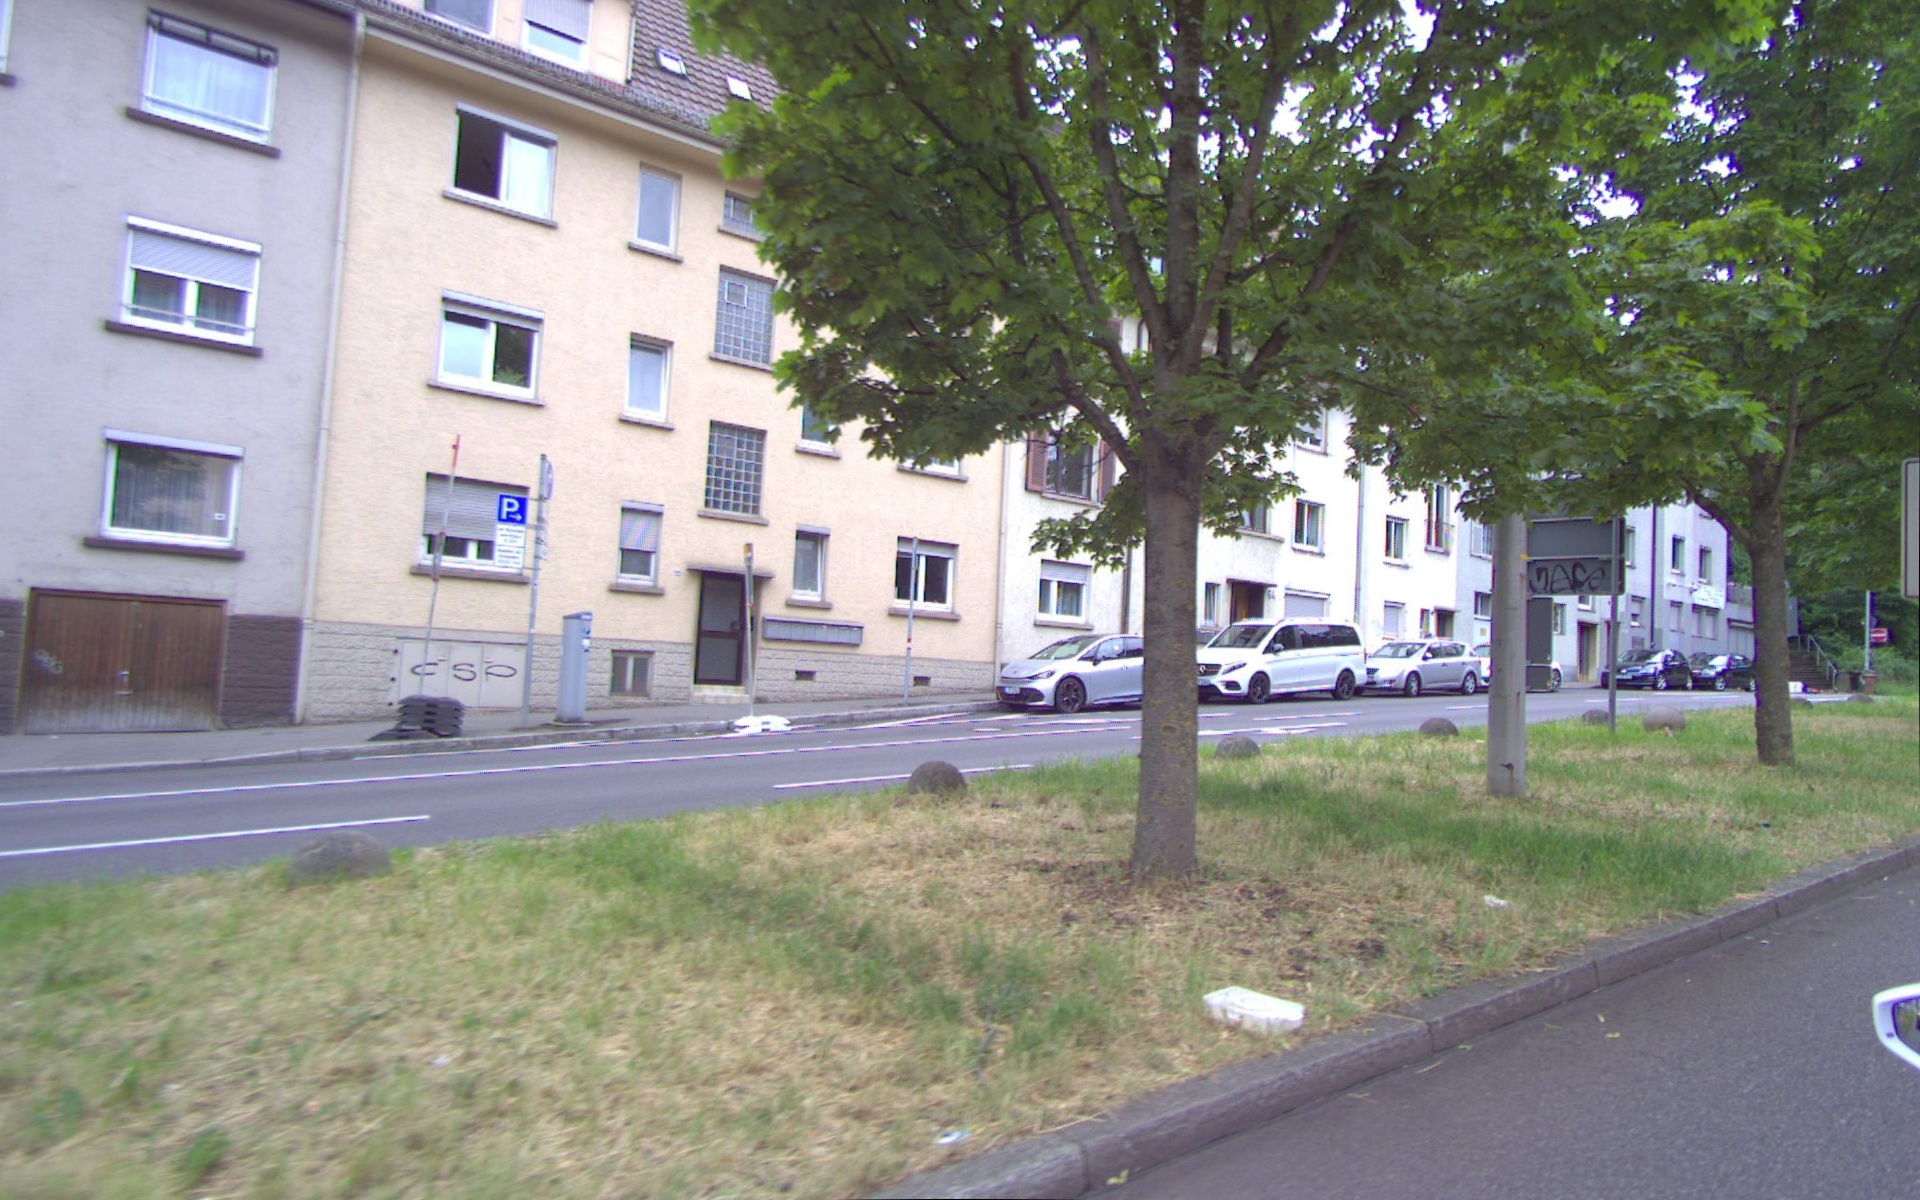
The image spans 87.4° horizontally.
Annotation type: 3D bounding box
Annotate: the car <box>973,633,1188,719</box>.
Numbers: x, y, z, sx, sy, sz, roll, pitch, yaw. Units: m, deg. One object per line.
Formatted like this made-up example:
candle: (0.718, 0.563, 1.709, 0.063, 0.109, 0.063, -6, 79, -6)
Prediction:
car: (2.512, 1.507, 20.568, 4.116, 1.573, 1.981, 2, -3, -34)

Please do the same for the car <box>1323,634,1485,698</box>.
car: (11.907, 1.740, 26.864, 4.337, 1.573, 1.981, 2, -3, -34)

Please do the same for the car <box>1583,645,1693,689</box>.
car: (23.715, 2.320, 35.097, 4.173, 1.441, 1.979, 3, -3, -37)

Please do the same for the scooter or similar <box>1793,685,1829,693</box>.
scooter or similar: (35.090, 3.662, 41.409, 1.111, 0.292, 1.094, -2, -6, 42)

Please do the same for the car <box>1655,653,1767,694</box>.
car: (28.339, 2.753, 37.860, 4.470, 1.418, 1.982, 3, -3, -33)

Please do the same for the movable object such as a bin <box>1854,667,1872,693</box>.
movable object such as a bin: (42.390, 3.756, 47.154, 0.598, 1.201, 0.489, 3, -1, 42)

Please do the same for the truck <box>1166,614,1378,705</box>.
truck: (7.474, 1.402, 23.846, 5.293, 1.945, 1.981, 2, -3, -34)

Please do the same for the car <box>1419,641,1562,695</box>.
car: (15.608, 1.967, 29.515, 4.114, 1.493, 1.982, 2, -3, -33)

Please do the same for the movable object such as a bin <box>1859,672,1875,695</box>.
movable object such as a bin: (42.150, 3.885, 46.688, 0.510, 0.980, 0.442, 3, -1, 42)
